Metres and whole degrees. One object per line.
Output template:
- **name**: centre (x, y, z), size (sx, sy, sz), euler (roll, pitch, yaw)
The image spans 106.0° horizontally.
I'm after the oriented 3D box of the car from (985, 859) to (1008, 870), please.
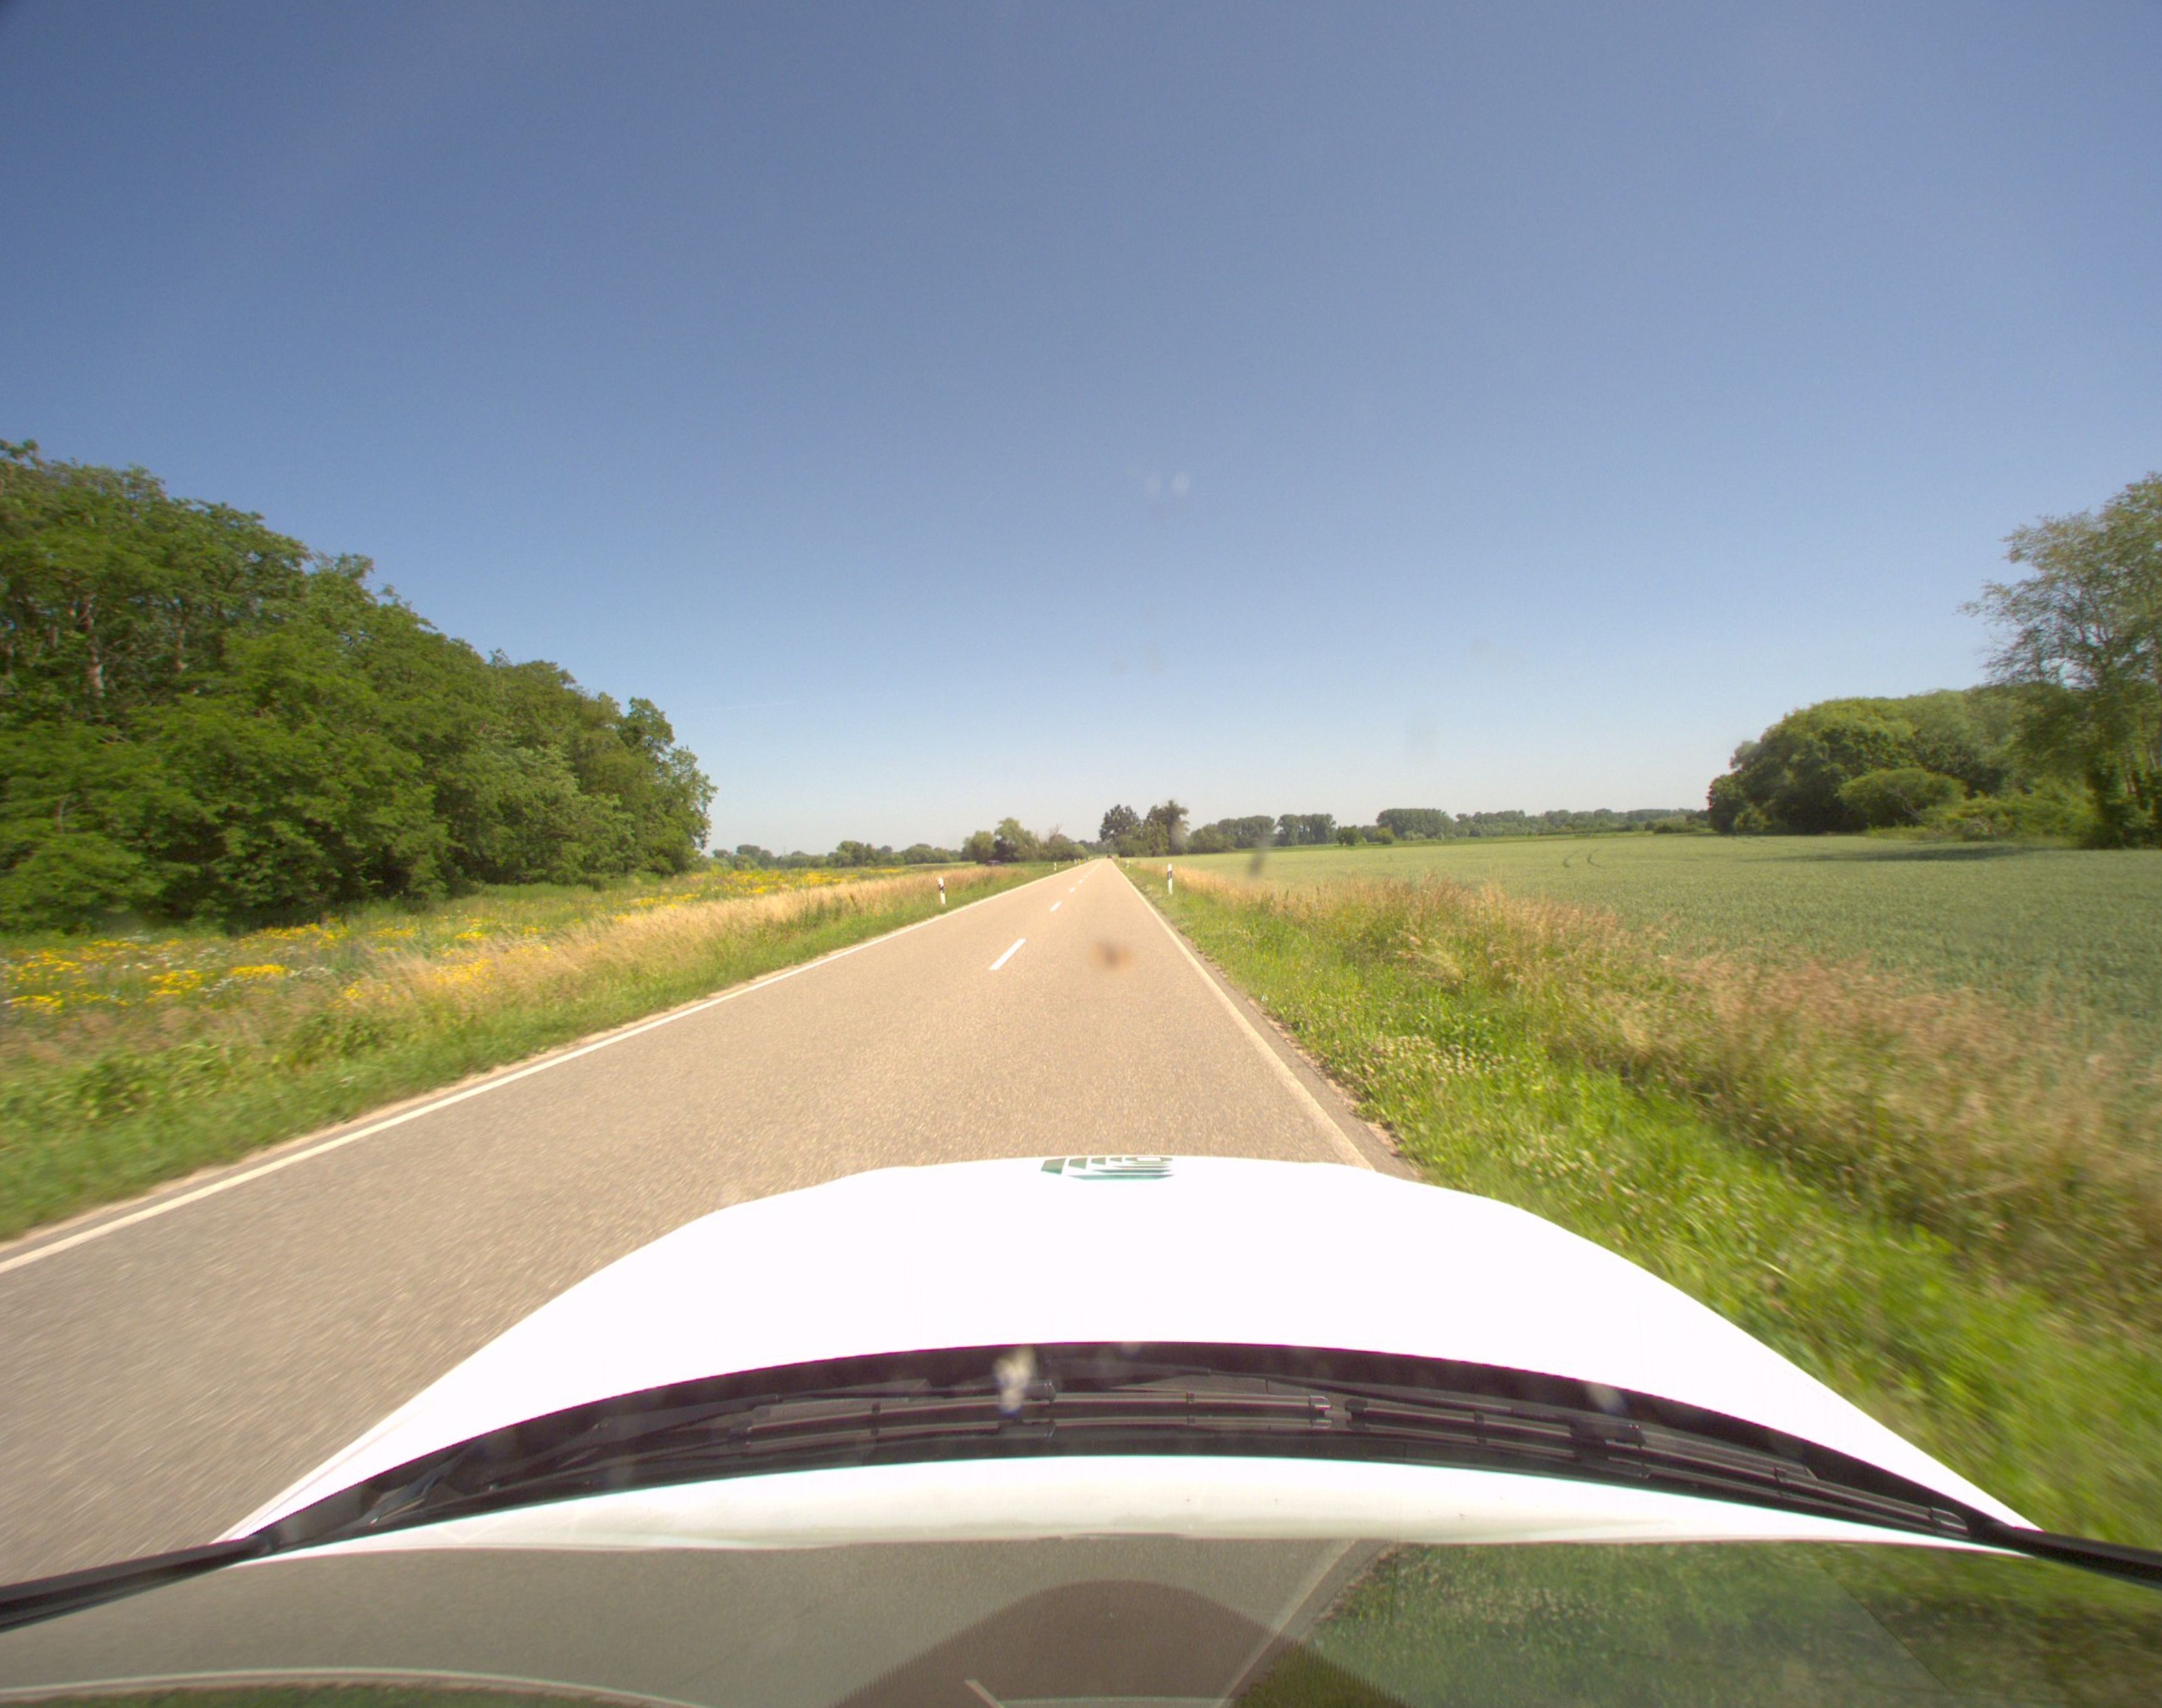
- **car**: centre (-14.746, 1.818, 141.921), size (1.736, 1.651, 4.557), euler (-3, 0, 27)
